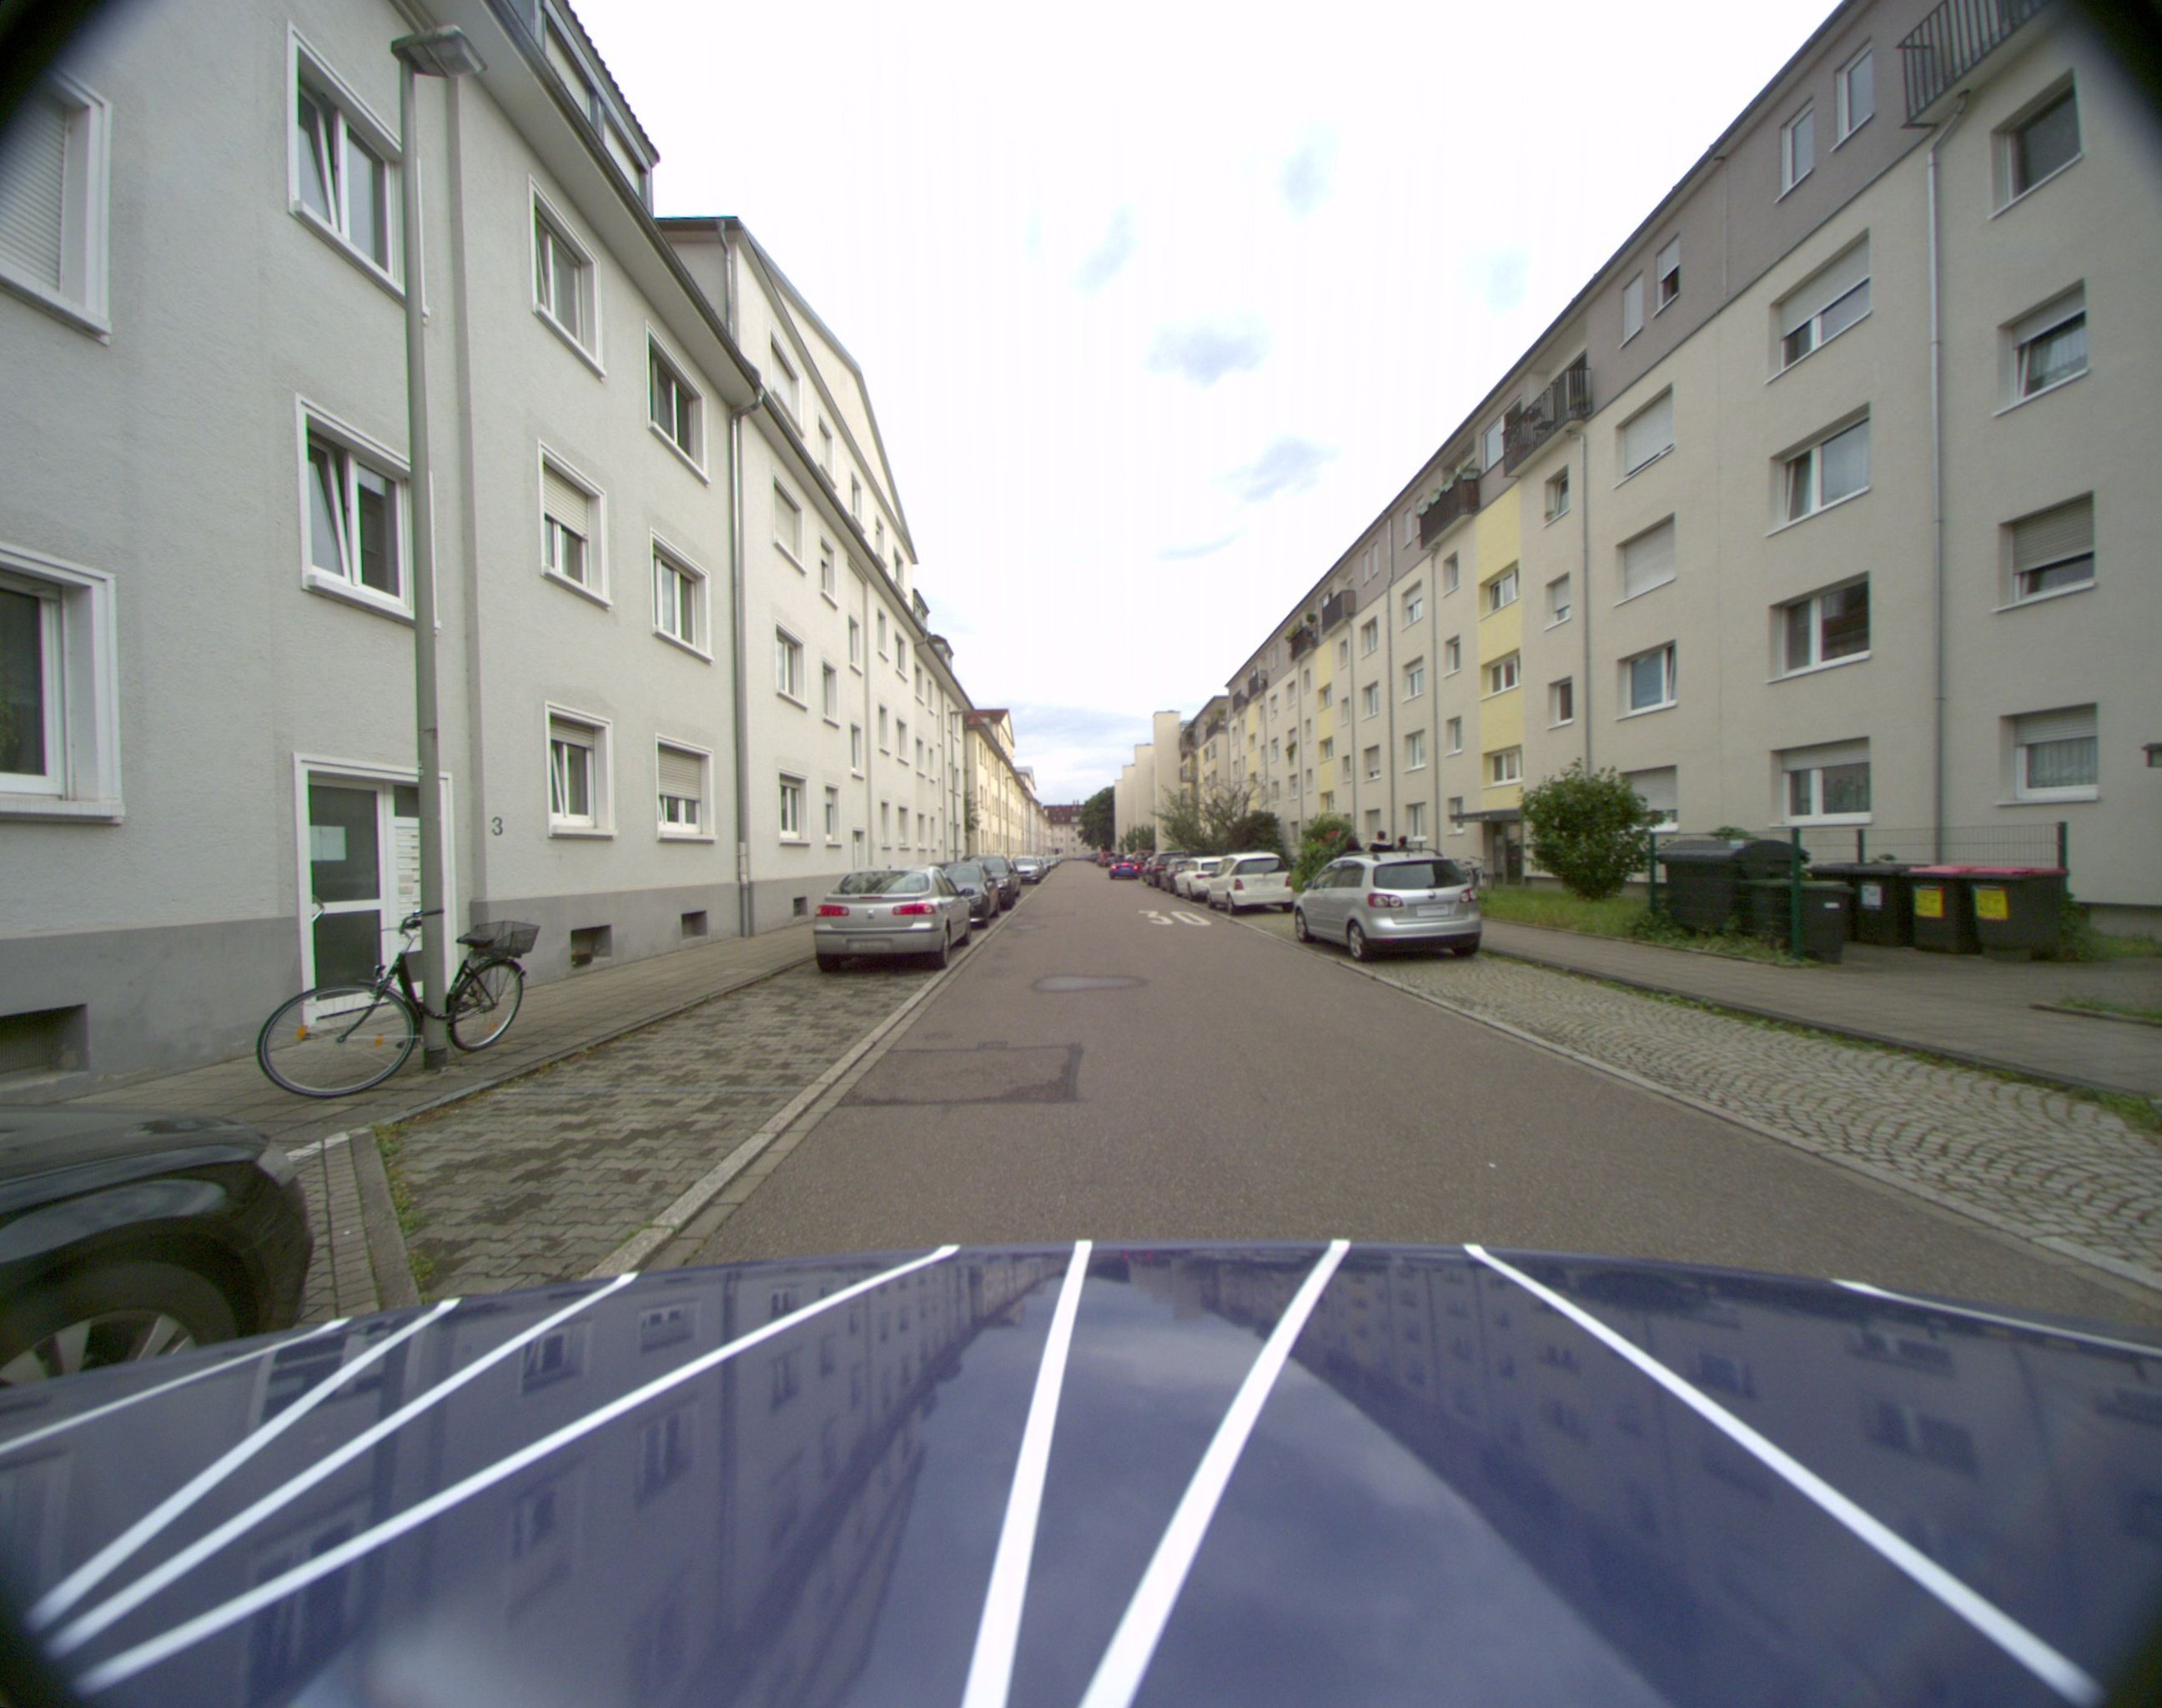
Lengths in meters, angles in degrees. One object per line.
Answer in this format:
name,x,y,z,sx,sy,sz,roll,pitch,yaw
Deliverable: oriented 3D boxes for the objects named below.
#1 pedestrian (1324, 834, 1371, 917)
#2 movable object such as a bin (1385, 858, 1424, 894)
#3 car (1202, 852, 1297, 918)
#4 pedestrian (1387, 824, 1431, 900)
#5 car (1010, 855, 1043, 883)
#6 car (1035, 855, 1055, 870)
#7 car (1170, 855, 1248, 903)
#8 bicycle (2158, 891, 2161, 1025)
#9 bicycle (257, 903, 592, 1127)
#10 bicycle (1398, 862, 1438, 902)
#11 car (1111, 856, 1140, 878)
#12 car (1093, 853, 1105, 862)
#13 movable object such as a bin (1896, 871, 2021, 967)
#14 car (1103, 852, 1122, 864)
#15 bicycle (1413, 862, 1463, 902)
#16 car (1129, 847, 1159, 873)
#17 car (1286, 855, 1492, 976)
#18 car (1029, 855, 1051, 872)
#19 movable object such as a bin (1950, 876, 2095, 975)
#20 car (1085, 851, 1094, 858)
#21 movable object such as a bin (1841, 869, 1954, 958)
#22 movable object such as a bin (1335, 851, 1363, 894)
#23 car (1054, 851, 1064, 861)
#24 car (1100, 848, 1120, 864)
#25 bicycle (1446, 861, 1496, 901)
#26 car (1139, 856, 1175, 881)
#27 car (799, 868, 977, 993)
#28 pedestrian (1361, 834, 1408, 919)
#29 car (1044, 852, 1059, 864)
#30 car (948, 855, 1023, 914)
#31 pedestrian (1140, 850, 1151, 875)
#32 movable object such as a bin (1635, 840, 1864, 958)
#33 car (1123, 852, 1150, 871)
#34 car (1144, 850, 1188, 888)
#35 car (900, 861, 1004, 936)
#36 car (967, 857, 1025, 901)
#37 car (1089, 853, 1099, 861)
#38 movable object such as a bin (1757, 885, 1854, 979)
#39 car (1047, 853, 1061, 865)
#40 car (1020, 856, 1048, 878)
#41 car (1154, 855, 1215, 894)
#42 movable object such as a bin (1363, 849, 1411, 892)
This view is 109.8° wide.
pedestrian,6.216,0.482,17.754,0.642,1.853,0.974,-3,1,-1
movable object such as a bin,10.457,0.694,24.574,0.871,1.103,0.787,-2,2,-5
car,4.600,0.788,21.220,1.690,1.629,3.726,-1,0,-2
pedestrian,7.354,0.178,17.068,0.616,1.647,0.803,-1,0,-1
car,-3.128,0.834,43.814,1.737,1.538,3.676,-1,1,-2
car,-3.370,0.777,71.677,1.737,1.363,4.217,-1,0,-2
car,4.405,0.823,26.821,1.723,1.501,4.686,-1,0,-3
bicycle,8.911,0.814,4.995,0.659,1.062,2.122,-1,0,0
bicycle,-4.465,1.008,5.410,0.750,1.193,1.895,1,0,0
bicycle,9.053,0.746,20.467,0.357,1.018,1.497,-1,0,-1
car,2.864,0.823,50.036,1.680,1.307,3.907,-1,1,0
car,3.300,0.601,140.376,1.746,1.534,3.636,-1,0,-7
movable object such as a bin,10.686,0.772,9.270,0.844,1.110,0.598,-1,0,-3
car,3.947,0.542,95.547,2.013,1.436,4.196,-1,0,-3
bicycle,9.551,0.730,20.389,0.479,1.018,1.754,-1,0,-1
car,4.565,0.452,55.397,1.707,1.795,3.541,-1,0,-3
car,4.685,0.835,12.217,1.658,1.541,3.915,-3,0,0
car,-3.435,0.782,63.967,1.737,1.402,4.217,-1,0,-2
movable object such as a bin,10.646,0.786,8.615,0.866,1.045,0.634,-1,0,-2
car,2.229,0.118,189.930,1.746,1.534,3.636,-1,0,-7
movable object such as a bin,10.657,0.759,9.933,0.844,1.110,0.598,-1,0,-3
movable object such as a bin,8.856,0.605,25.107,0.659,1.360,0.587,-2,2,-5
car,-3.729,0.330,129.670,1.737,1.670,3.591,-1,0,-2
car,3.823,0.294,101.780,2.188,2.019,4.422,-1,0,-3
bicycle,10.438,0.701,20.375,0.421,1.018,1.558,-1,0,-4
car,4.458,0.839,44.844,1.575,1.389,3.541,-1,0,-3
car,-2.699,0.988,11.679,1.737,1.454,4.429,-1,0,-2
pedestrian,6.754,0.490,16.927,0.708,1.843,0.763,-1,1,-1
car,-3.517,0.493,90.853,1.737,1.443,4.217,-1,0,-2
car,-2.781,0.849,22.978,1.853,1.589,4.159,-1,0,-2
pedestrian,4.272,0.579,50.576,0.603,1.657,0.622,-1,1,-3
movable object such as a bin,8.873,0.557,10.226,1.593,1.412,1.671,-1,0,-1
car,4.467,0.597,61.585,1.707,1.436,3.541,-1,0,-3
car,4.205,0.717,38.030,1.575,1.769,4.451,-1,0,-1
car,-2.817,0.923,17.507,1.786,1.454,4.322,-1,0,-2
car,-3.077,0.854,28.035,1.737,1.478,3.756,-1,0,-1
car,2.634,0.601,153.892,1.707,1.528,3.541,-1,0,-3
movable object such as a bin,8.419,0.892,8.848,0.538,1.027,0.598,-1,0,-2
car,-3.582,0.649,100.646,1.737,1.443,4.217,-1,0,-2
car,-3.243,0.849,52.727,1.737,1.418,4.217,-1,0,-1
car,4.268,0.817,32.002,1.730,1.445,4.481,-1,0,-3
movable object such as a bin,10.305,0.545,25.638,1.060,1.367,1.188,-2,2,-5
